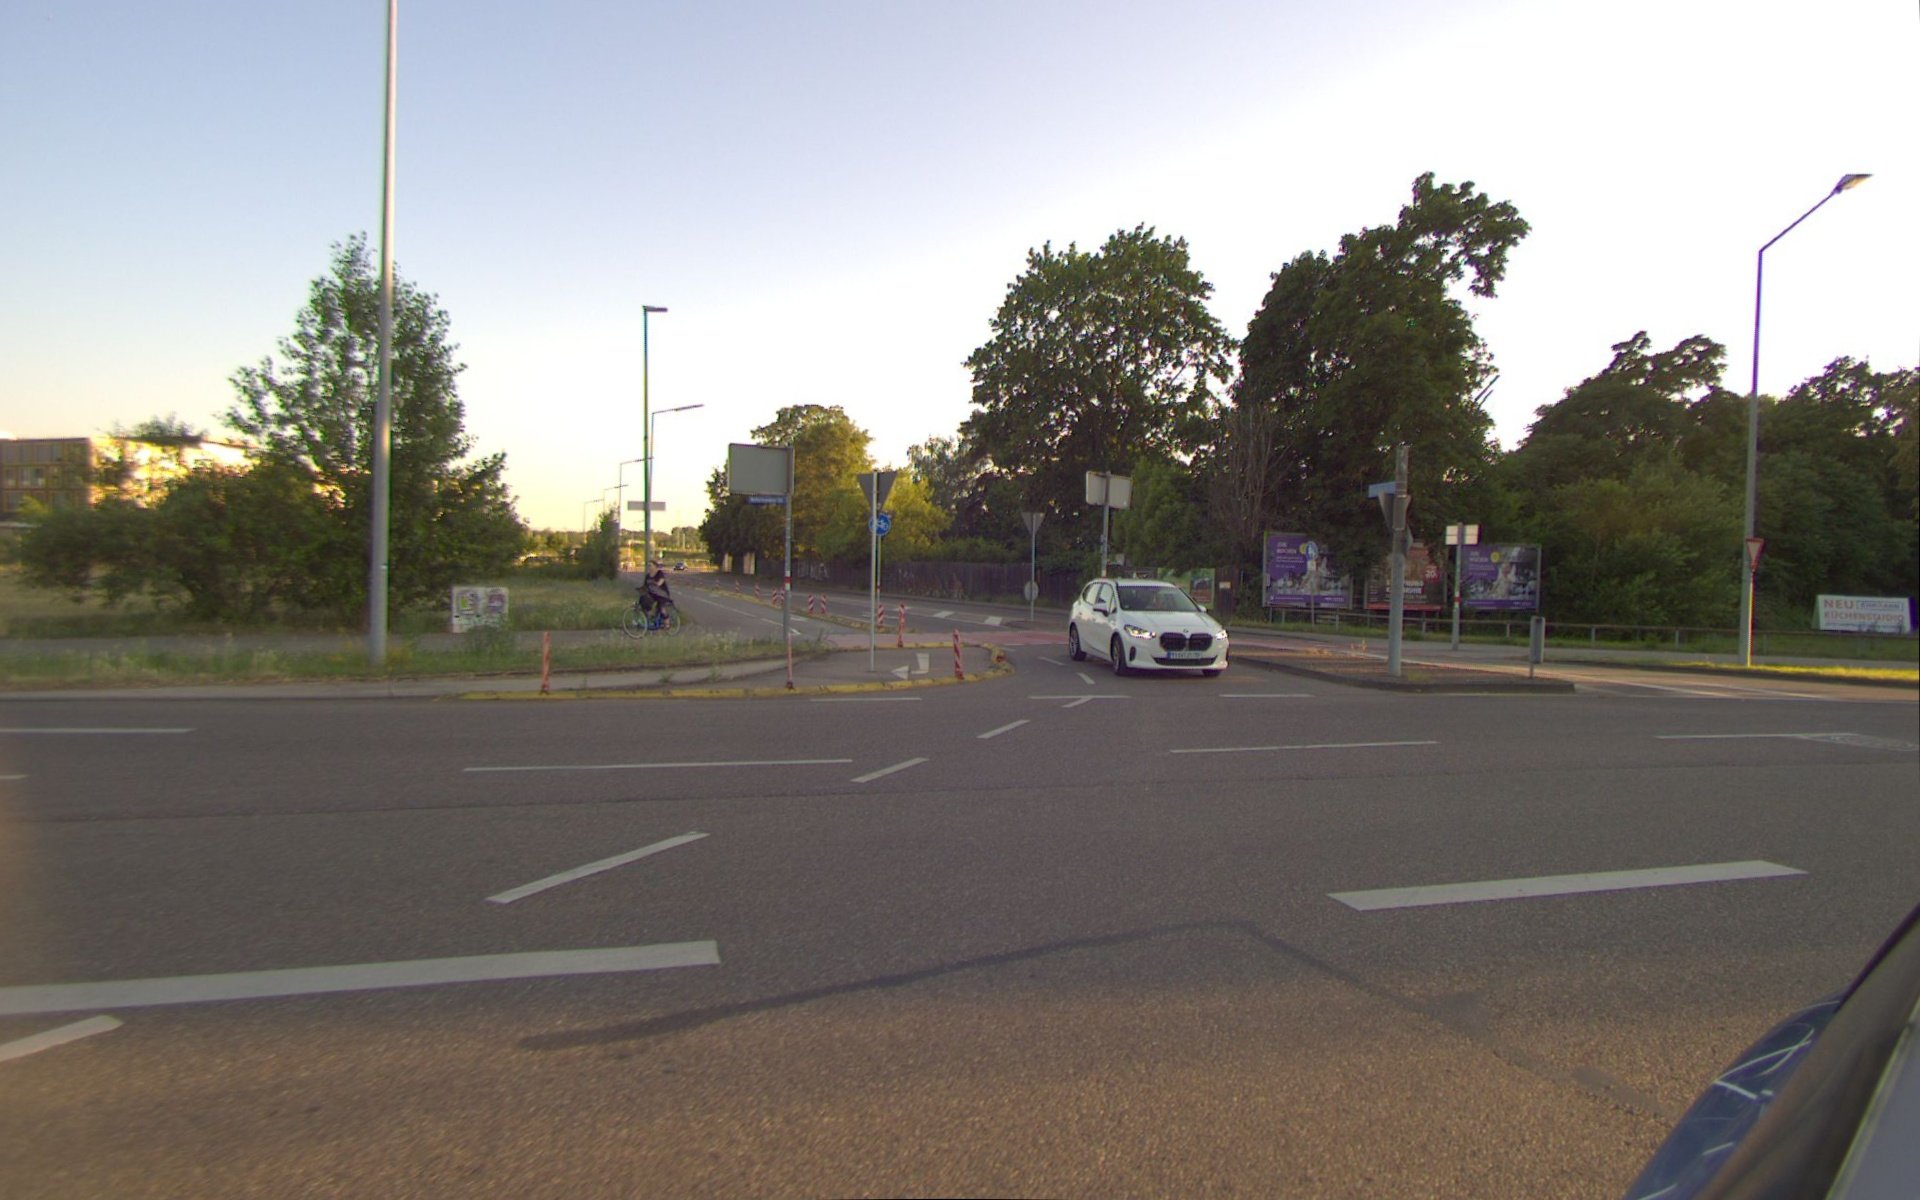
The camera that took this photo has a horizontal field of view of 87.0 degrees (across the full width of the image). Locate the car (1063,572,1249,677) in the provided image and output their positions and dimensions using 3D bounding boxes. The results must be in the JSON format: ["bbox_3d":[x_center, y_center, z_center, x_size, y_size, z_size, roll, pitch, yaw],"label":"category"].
[{"bbox_3d":[3.263,0.338,17.735,1.852,1.578,4.103,1,1,-9],"label":"car"}]

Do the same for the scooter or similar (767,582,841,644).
[{"bbox_3d":[-3.128,0.269,20.348,1.356,1.177,0.442,3,0,-35],"label":"scooter or similar"}]

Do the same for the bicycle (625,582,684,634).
[{"bbox_3d":[-6.769,0.166,22.449,0.278,1.102,1.355,2,1,35],"label":"bicycle"}]
